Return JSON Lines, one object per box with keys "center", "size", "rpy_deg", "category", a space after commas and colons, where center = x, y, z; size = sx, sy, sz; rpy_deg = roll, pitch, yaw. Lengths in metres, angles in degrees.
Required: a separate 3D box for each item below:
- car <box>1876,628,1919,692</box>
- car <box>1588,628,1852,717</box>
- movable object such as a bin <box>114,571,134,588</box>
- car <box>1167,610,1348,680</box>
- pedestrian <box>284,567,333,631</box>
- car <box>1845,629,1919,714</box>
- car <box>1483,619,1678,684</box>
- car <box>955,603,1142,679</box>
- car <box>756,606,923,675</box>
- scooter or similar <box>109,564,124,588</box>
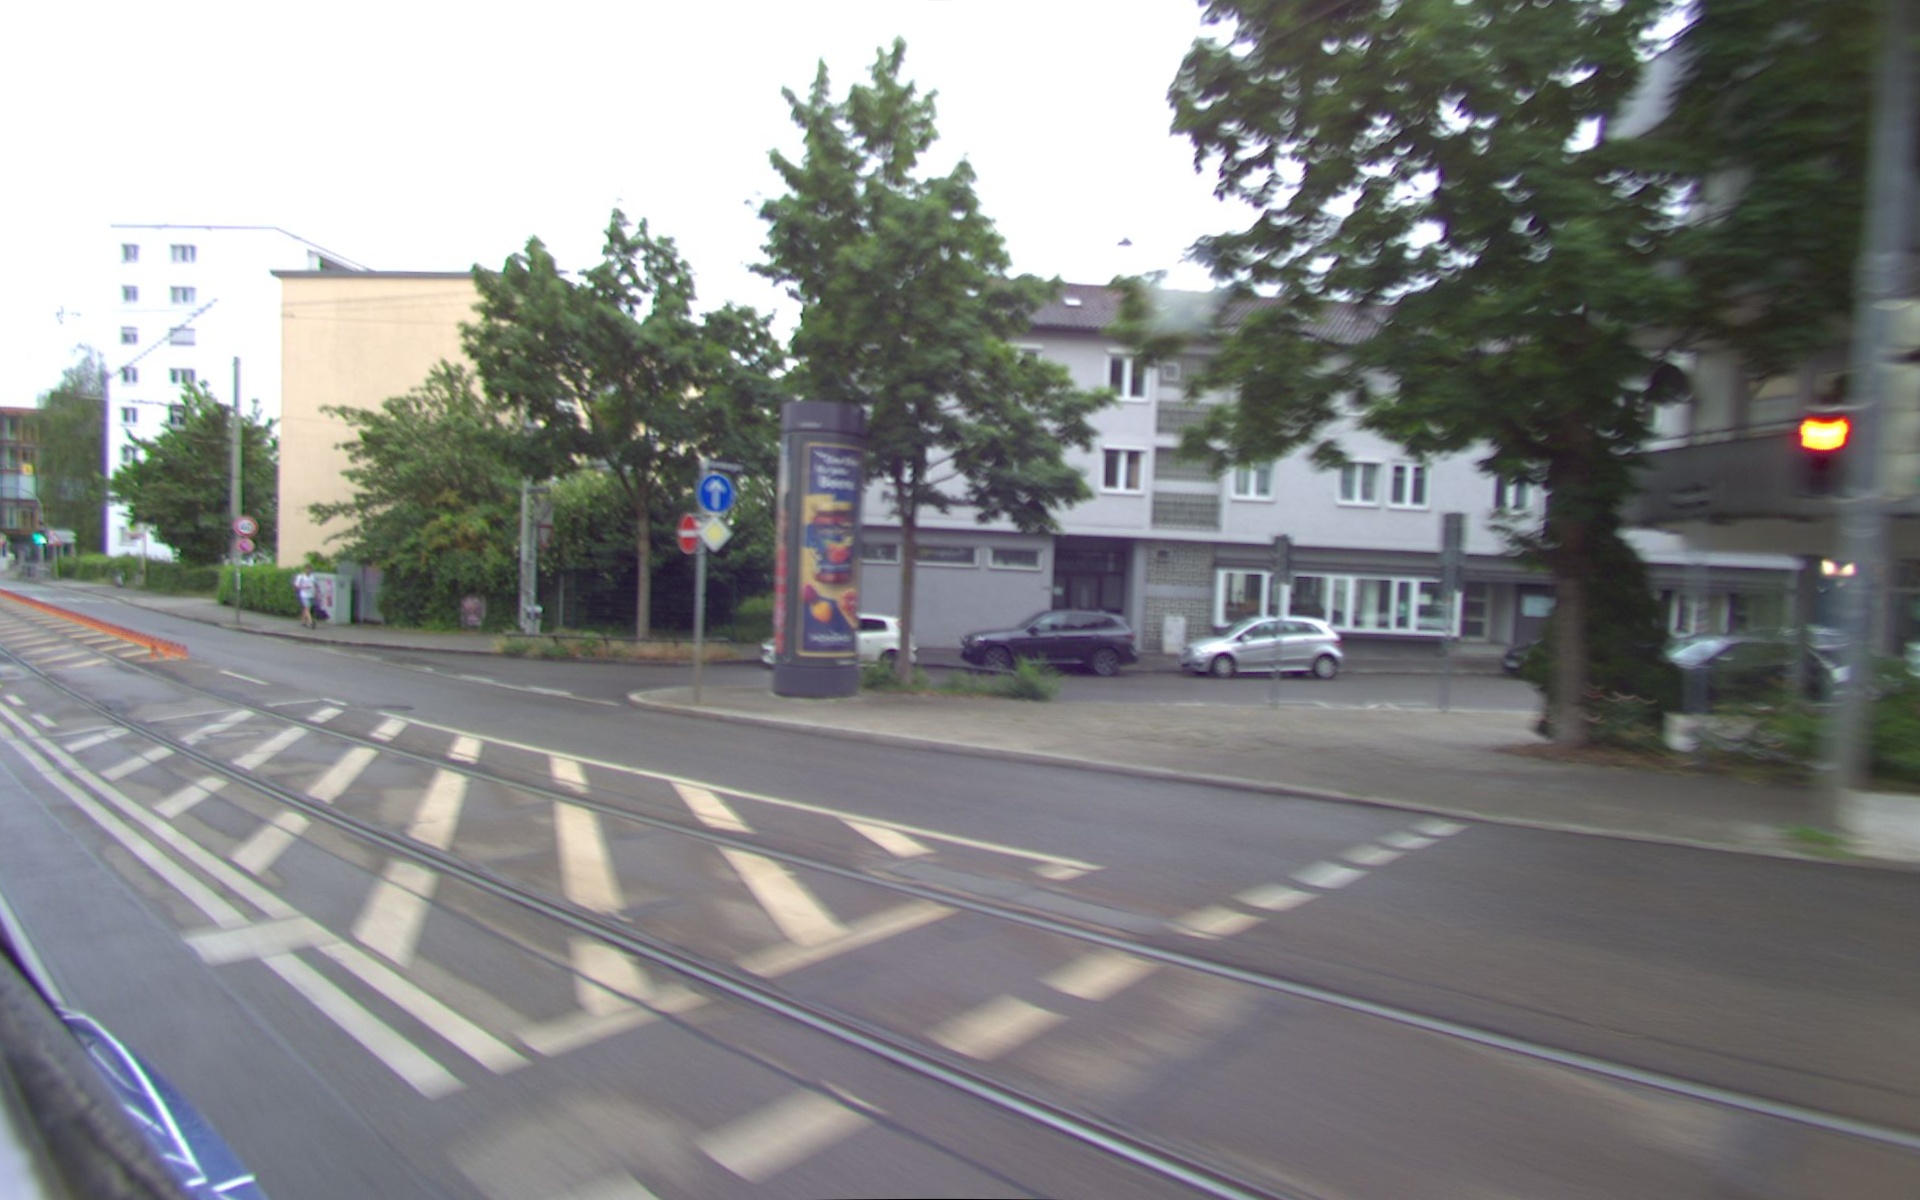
{"center": [28.033, 1.711, 27.813], "size": [4.137, 1.654, 1.845], "rpy_deg": [1, 2, -5], "category": "car"}
{"center": [15.575, 1.465, 20.891], "size": [3.938, 1.529, 2.003], "rpy_deg": [1, 3, -5], "category": "car"}
{"center": [-46.149, -1.153, 55.851], "size": [0.759, 0.888, 0.680], "rpy_deg": [4, 4, 36], "category": "movable object such as a bin"}
{"center": [7.793, 1.174, 26.709], "size": [4.109, 1.590, 1.845], "rpy_deg": [1, 2, -5], "category": "car"}
{"center": [-19.505, -0.047, 30.319], "size": [1.015, 1.859, 0.911], "rpy_deg": [3, 4, 36], "category": "pedestrian"}
{"center": [21.808, 1.543, 21.347], "size": [4.601, 1.607, 2.003], "rpy_deg": [1, 3, -5], "category": "car"}
{"center": [16.769, 1.365, 27.456], "size": [4.137, 1.505, 1.845], "rpy_deg": [1, 2, -5], "category": "car"}
{"center": [2.248, 1.046, 26.478], "size": [4.569, 1.718, 1.845], "rpy_deg": [1, 2, -5], "category": "car"}
{"center": [-3.062, 1.022, 26.248], "size": [4.099, 1.492, 2.002], "rpy_deg": [2, 3, -3], "category": "car"}
{"center": [-45.275, -1.295, 54.318], "size": [0.565, 1.193, 1.602], "rpy_deg": [-1, 4, -41], "category": "scooter or similar"}
